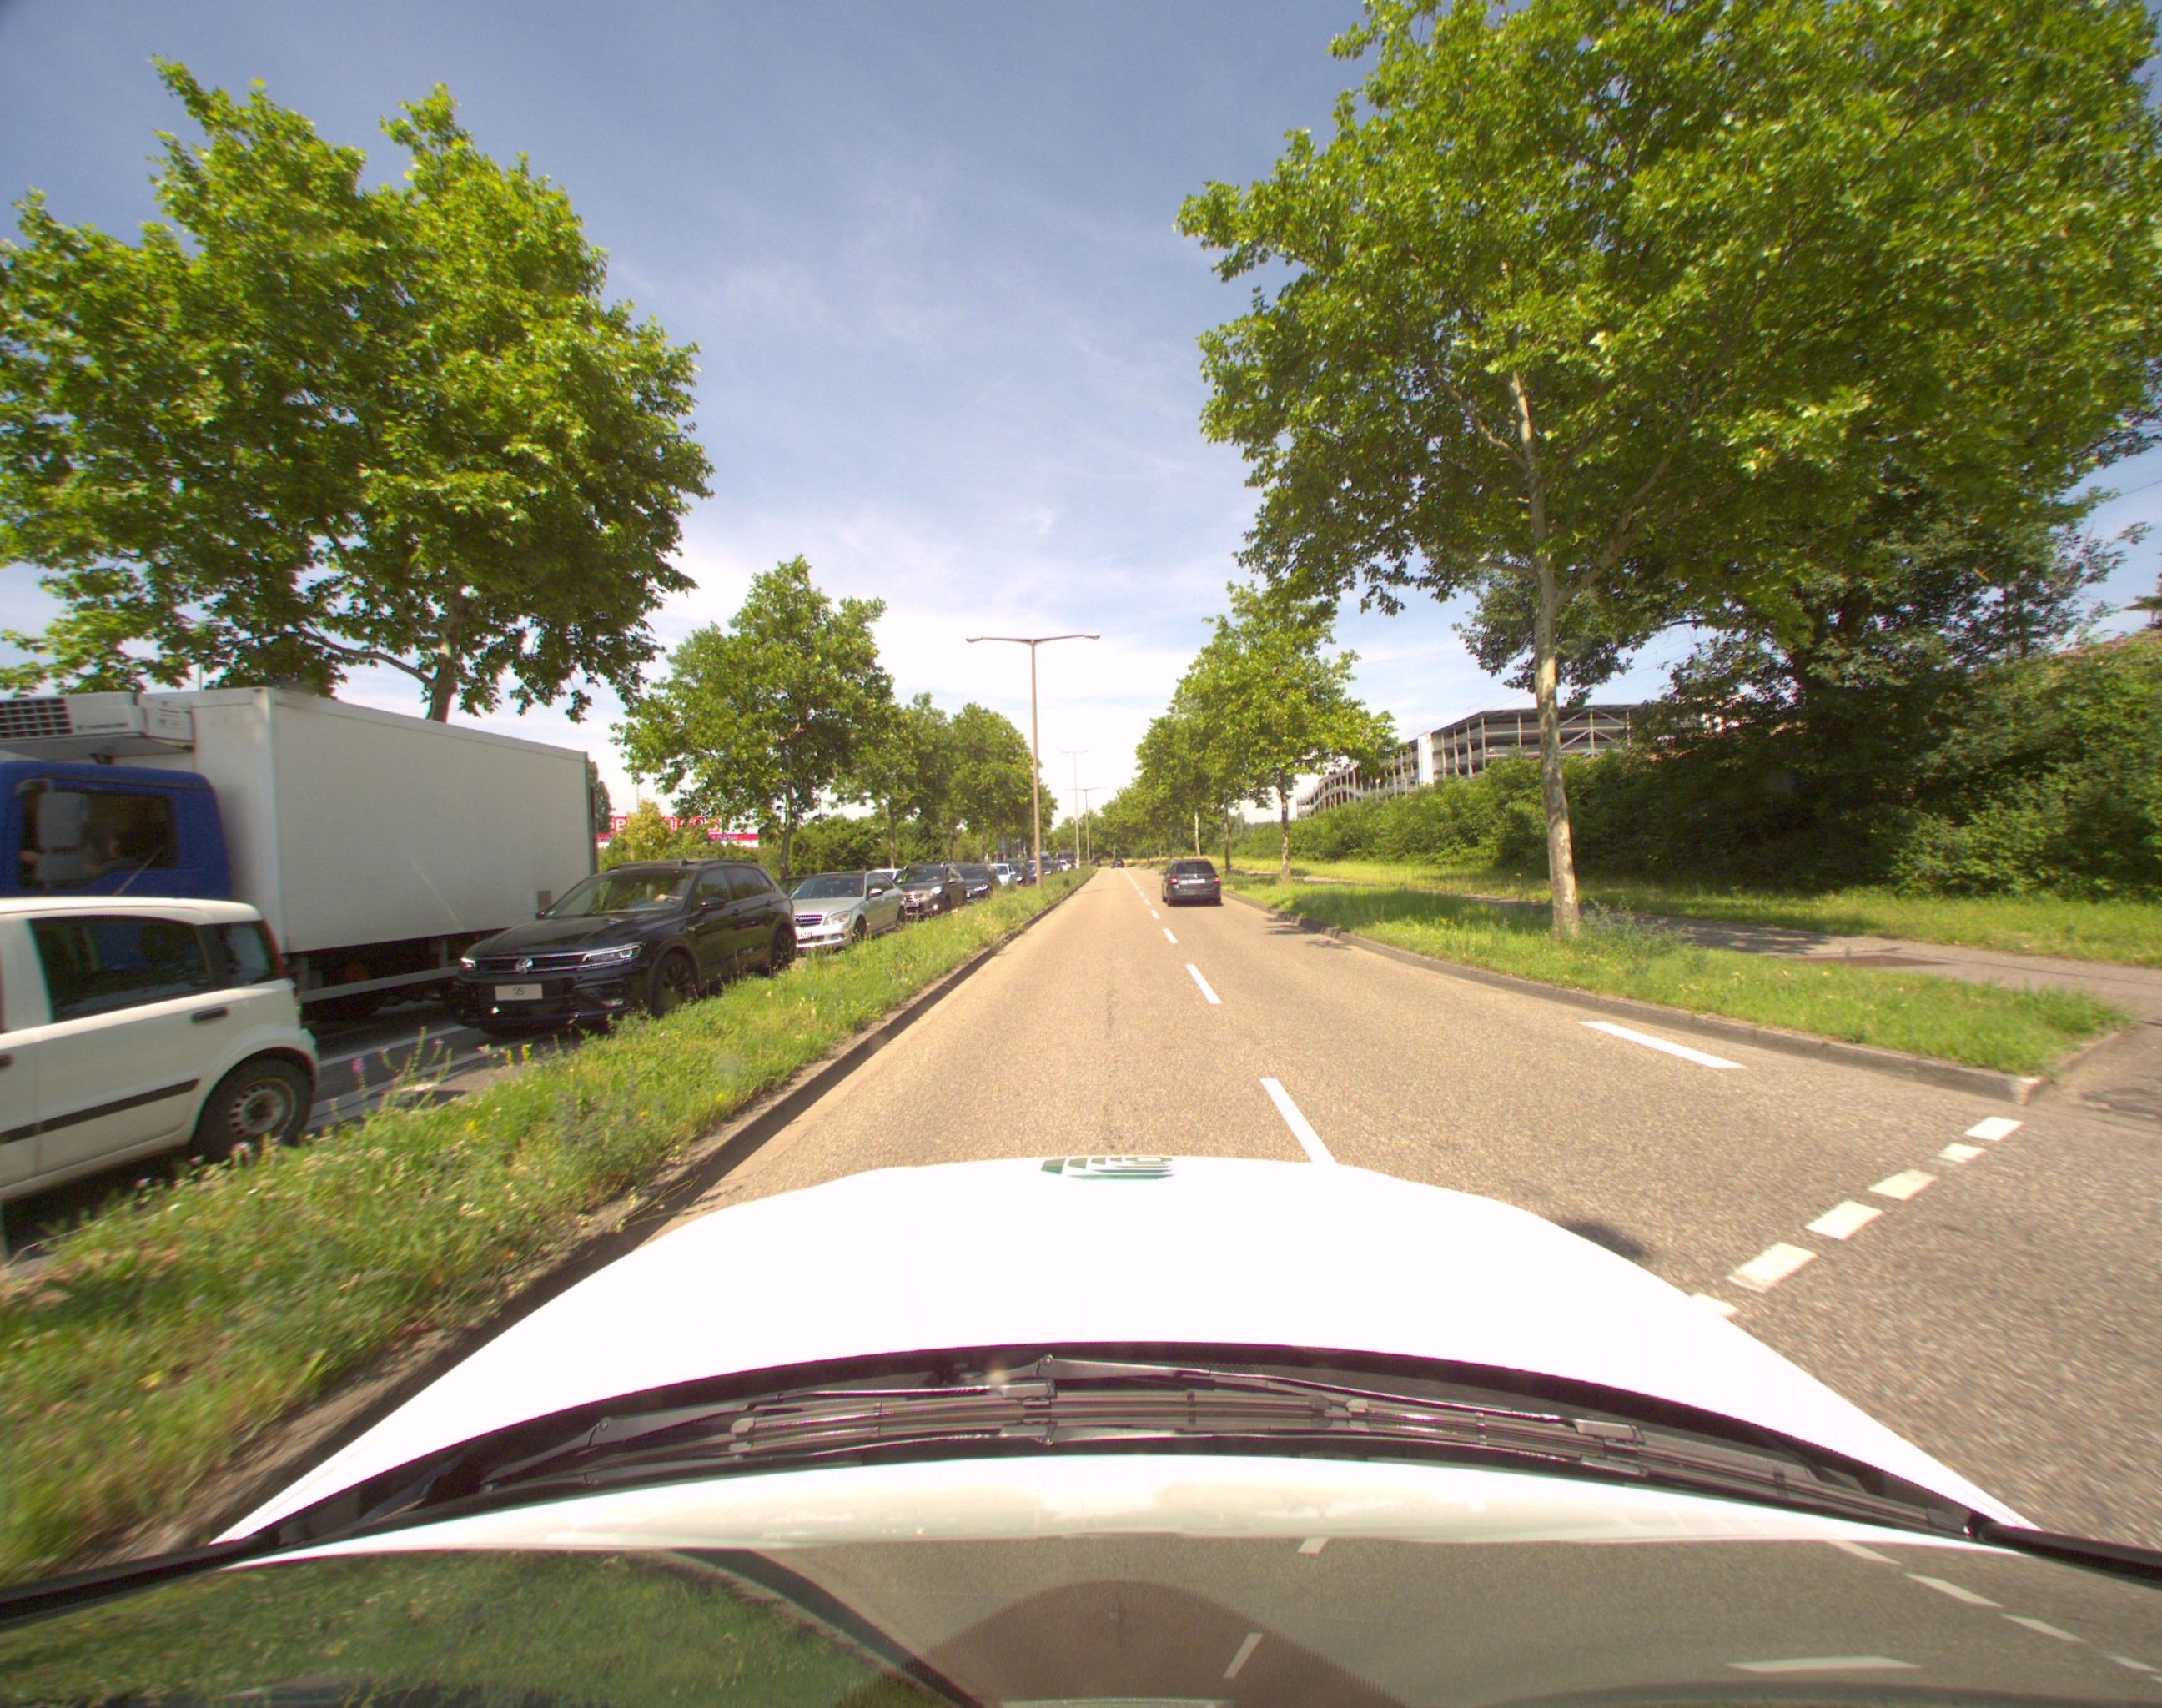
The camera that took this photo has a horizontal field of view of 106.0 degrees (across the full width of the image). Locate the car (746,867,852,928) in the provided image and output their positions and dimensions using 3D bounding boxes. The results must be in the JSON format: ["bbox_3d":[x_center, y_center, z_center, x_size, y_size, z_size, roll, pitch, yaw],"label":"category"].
[{"bbox_3d":[-7.868,1.156,23.041,1.558,1.452,3.546,-4,0,2],"label":"car"}]

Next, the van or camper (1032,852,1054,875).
[{"bbox_3d":[-4.456,1.093,96.933,2.007,2.587,5.520,-3,0,2],"label":"van or camper"}]

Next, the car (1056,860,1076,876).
[{"bbox_3d":[-1.497,1.377,82.110,1.682,1.510,3.817,-3,0,2],"label":"car"}]

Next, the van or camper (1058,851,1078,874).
[{"bbox_3d":[-1.400,1.006,91.259,1.932,2.369,5.398,-3,-1,1],"label":"van or camper"}]

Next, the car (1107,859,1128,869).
[{"bbox_3d":[5.618,1.573,126.436,1.911,1.463,4.598,-1,1,-15],"label":"car"}]

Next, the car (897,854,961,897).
[{"bbox_3d":[-6.678,0.956,36.316,1.815,1.737,4.768,-2,-1,1],"label":"car"}]

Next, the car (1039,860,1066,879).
[{"bbox_3d":[-2.393,1.307,69.645,1.806,1.530,4.644,-3,0,3],"label":"car"}]

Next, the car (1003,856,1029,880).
[{"bbox_3d":[-5.534,1.186,69.525,1.682,1.858,4.038,-3,-1,2],"label":"car"}]

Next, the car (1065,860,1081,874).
[{"bbox_3d":[-0.922,1.585,98.777,1.682,1.530,3.816,-3,-1,2],"label":"car"}]

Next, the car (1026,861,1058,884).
[{"bbox_3d":[-2.670,1.236,56.560,1.817,1.465,4.451,-3,0,1],"label":"car"}]

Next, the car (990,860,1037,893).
[{"bbox_3d":[-3.476,1.144,42.734,1.751,1.530,4.830,-3,0,2],"label":"car"}]

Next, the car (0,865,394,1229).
[{"bbox_3d":[-5.263,0.835,3.335,1.586,1.477,3.731,-3,0,2],"label":"car"}]

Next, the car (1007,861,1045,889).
[{"bbox_3d":[-3.212,1.190,48.307,1.778,1.489,4.212,-3,0,1],"label":"car"}]

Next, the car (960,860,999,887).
[{"bbox_3d":[-6.293,1.177,50.830,1.682,1.530,3.941,-3,0,2],"label":"car"}]

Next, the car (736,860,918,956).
[{"bbox_3d":[-4.595,0.898,15.514,1.789,1.468,4.525,-3,0,3],"label":"car"}]

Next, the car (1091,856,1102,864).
[{"bbox_3d":[2.889,1.186,152.500,1.902,1.463,4.580,-2,0,-1],"label":"car"}]

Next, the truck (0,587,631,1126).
[{"bbox_3d":[-8.186,0.078,8.566,2.793,3.471,6.695,-3,0,2],"label":"truck"}]

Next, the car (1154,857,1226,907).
[{"bbox_3d":[3.397,0.838,26.113,1.670,1.453,4.033,0,0,-2],"label":"car"}]

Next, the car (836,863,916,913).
[{"bbox_3d":[-7.250,1.167,29.198,1.683,1.530,4.085,-3,0,1],"label":"car"}]

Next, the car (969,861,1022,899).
[{"bbox_3d":[-3.672,1.074,35.495,1.682,1.472,3.817,-3,0,2],"label":"car"}]

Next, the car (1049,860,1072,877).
[{"bbox_3d":[-1.880,1.356,75.684,1.777,1.459,4.474,-2,0,2],"label":"car"}]

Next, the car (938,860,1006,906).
[{"bbox_3d":[-3.929,0.998,29.898,1.682,1.473,4.220,-3,0,2],"label":"car"}]

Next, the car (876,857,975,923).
[{"bbox_3d":[-4.186,0.915,22.561,1.682,1.586,4.242,-3,0,2],"label":"car"}]

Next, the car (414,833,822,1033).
[{"bbox_3d":[-4.760,0.735,9.378,1.813,1.647,4.696,-3,-1,2],"label":"car"}]
